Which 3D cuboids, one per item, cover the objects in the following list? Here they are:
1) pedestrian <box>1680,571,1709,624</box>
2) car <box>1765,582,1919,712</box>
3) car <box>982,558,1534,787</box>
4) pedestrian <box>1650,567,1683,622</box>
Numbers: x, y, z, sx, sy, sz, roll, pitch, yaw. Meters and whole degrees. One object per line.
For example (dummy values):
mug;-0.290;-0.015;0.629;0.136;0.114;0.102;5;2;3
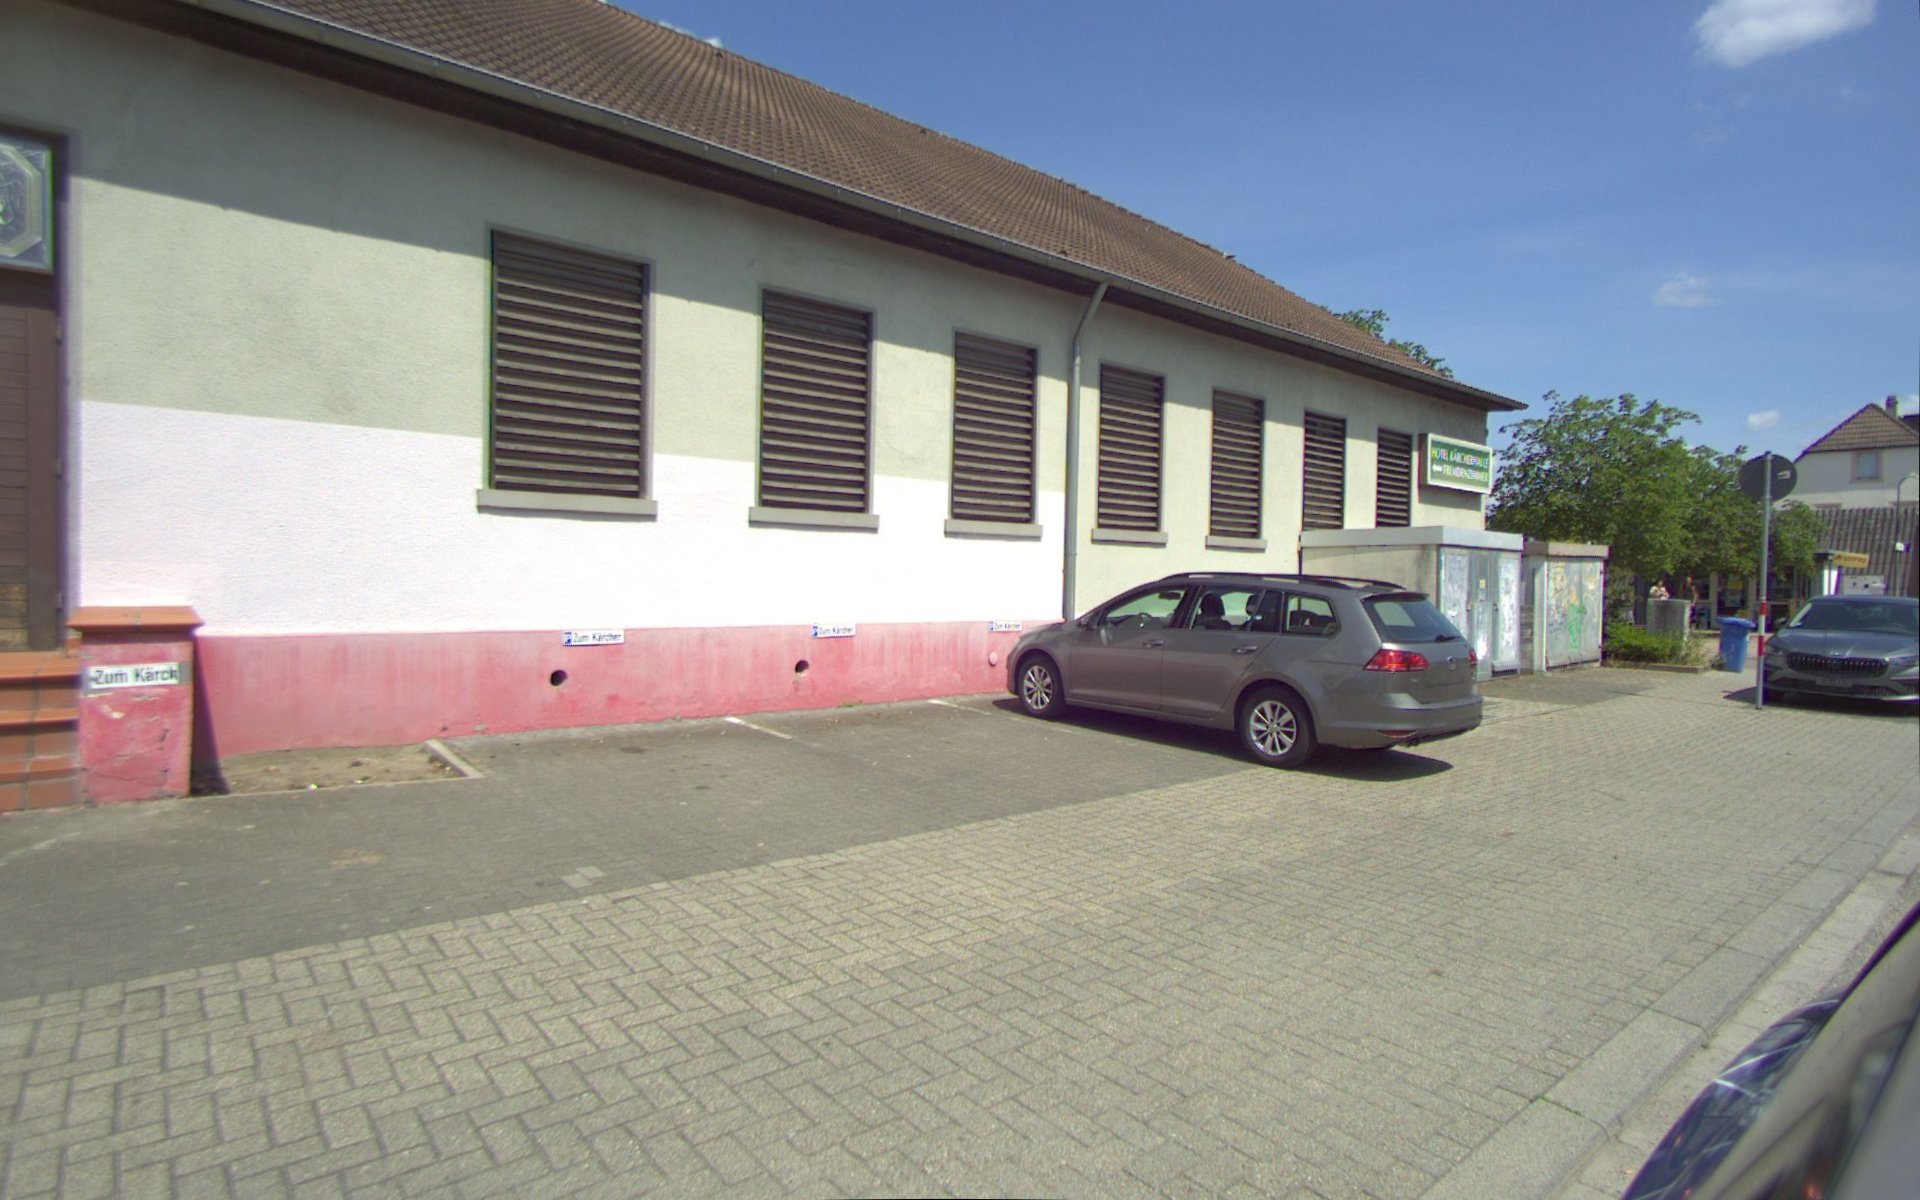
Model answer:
pedestrian;24.429;-0.090;33.679;0.587;1.741;0.464;1;1;2
car;12.451;0.532;13.780;4.068;1.507;1.630;0;2;-41
car;2.390;0.415;9.211;1.884;1.472;4.538;0;3;-39
pedestrian;23.559;-0.195;33.745;0.668;1.811;0.549;1;1;2
